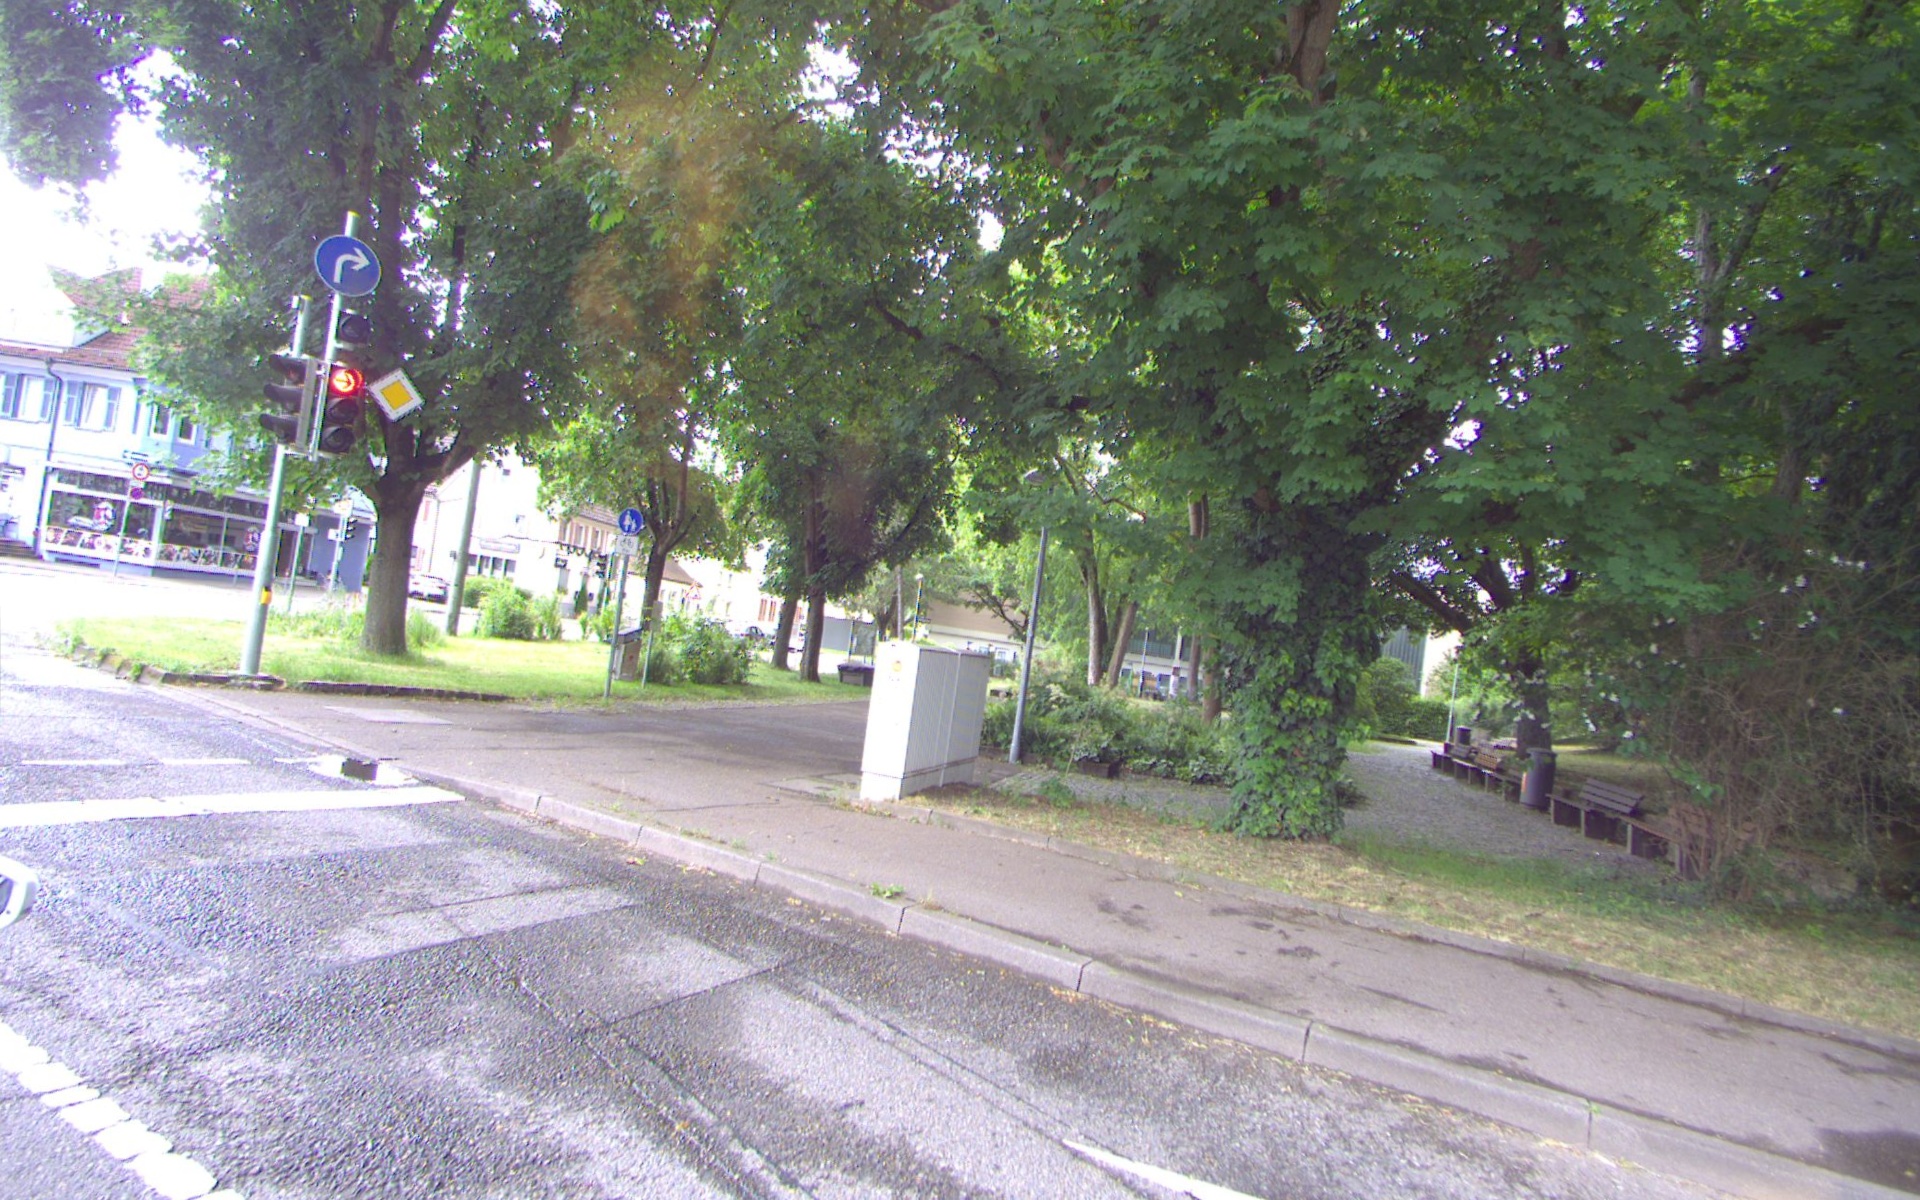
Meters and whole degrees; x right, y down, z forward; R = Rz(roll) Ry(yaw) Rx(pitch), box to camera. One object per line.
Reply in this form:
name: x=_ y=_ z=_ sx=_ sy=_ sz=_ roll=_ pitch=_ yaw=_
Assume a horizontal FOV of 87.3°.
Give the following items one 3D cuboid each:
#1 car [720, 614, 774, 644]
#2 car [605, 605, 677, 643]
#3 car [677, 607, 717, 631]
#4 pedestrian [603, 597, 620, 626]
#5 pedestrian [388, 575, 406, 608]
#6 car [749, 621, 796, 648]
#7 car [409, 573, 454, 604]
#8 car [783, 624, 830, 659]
car: x=-11.564 y=1.599 z=54.822 sx=1.530 sy=1.336 sz=3.514 roll=7 pitch=-2 yaw=9
car: x=-14.005 y=1.092 z=44.358 sx=1.530 sy=1.336 sz=3.514 roll=7 pitch=-2 yaw=9
car: x=-19.366 y=1.447 z=74.250 sx=1.528 sy=1.436 sz=4.005 roll=7 pitch=-2 yaw=4
pedestrian: x=-21.288 y=0.690 z=61.536 sx=0.600 sy=1.668 sz=0.610 roll=7 pitch=-1 yaw=3
pedestrian: x=-26.984 y=-0.415 z=48.209 sx=0.580 sy=1.535 sz=0.457 roll=7 pitch=-1 yaw=-25
car: x=-11.162 y=2.073 z=60.107 sx=1.530 sy=1.336 sz=3.514 roll=7 pitch=-2 yaw=8
car: x=-27.866 y=-0.598 z=53.145 sx=1.479 sy=1.384 sz=3.166 roll=8 pitch=-2 yaw=-19
car: x=-10.051 y=2.761 z=66.175 sx=1.750 sy=2.037 sz=4.005 roll=7 pitch=-2 yaw=7
